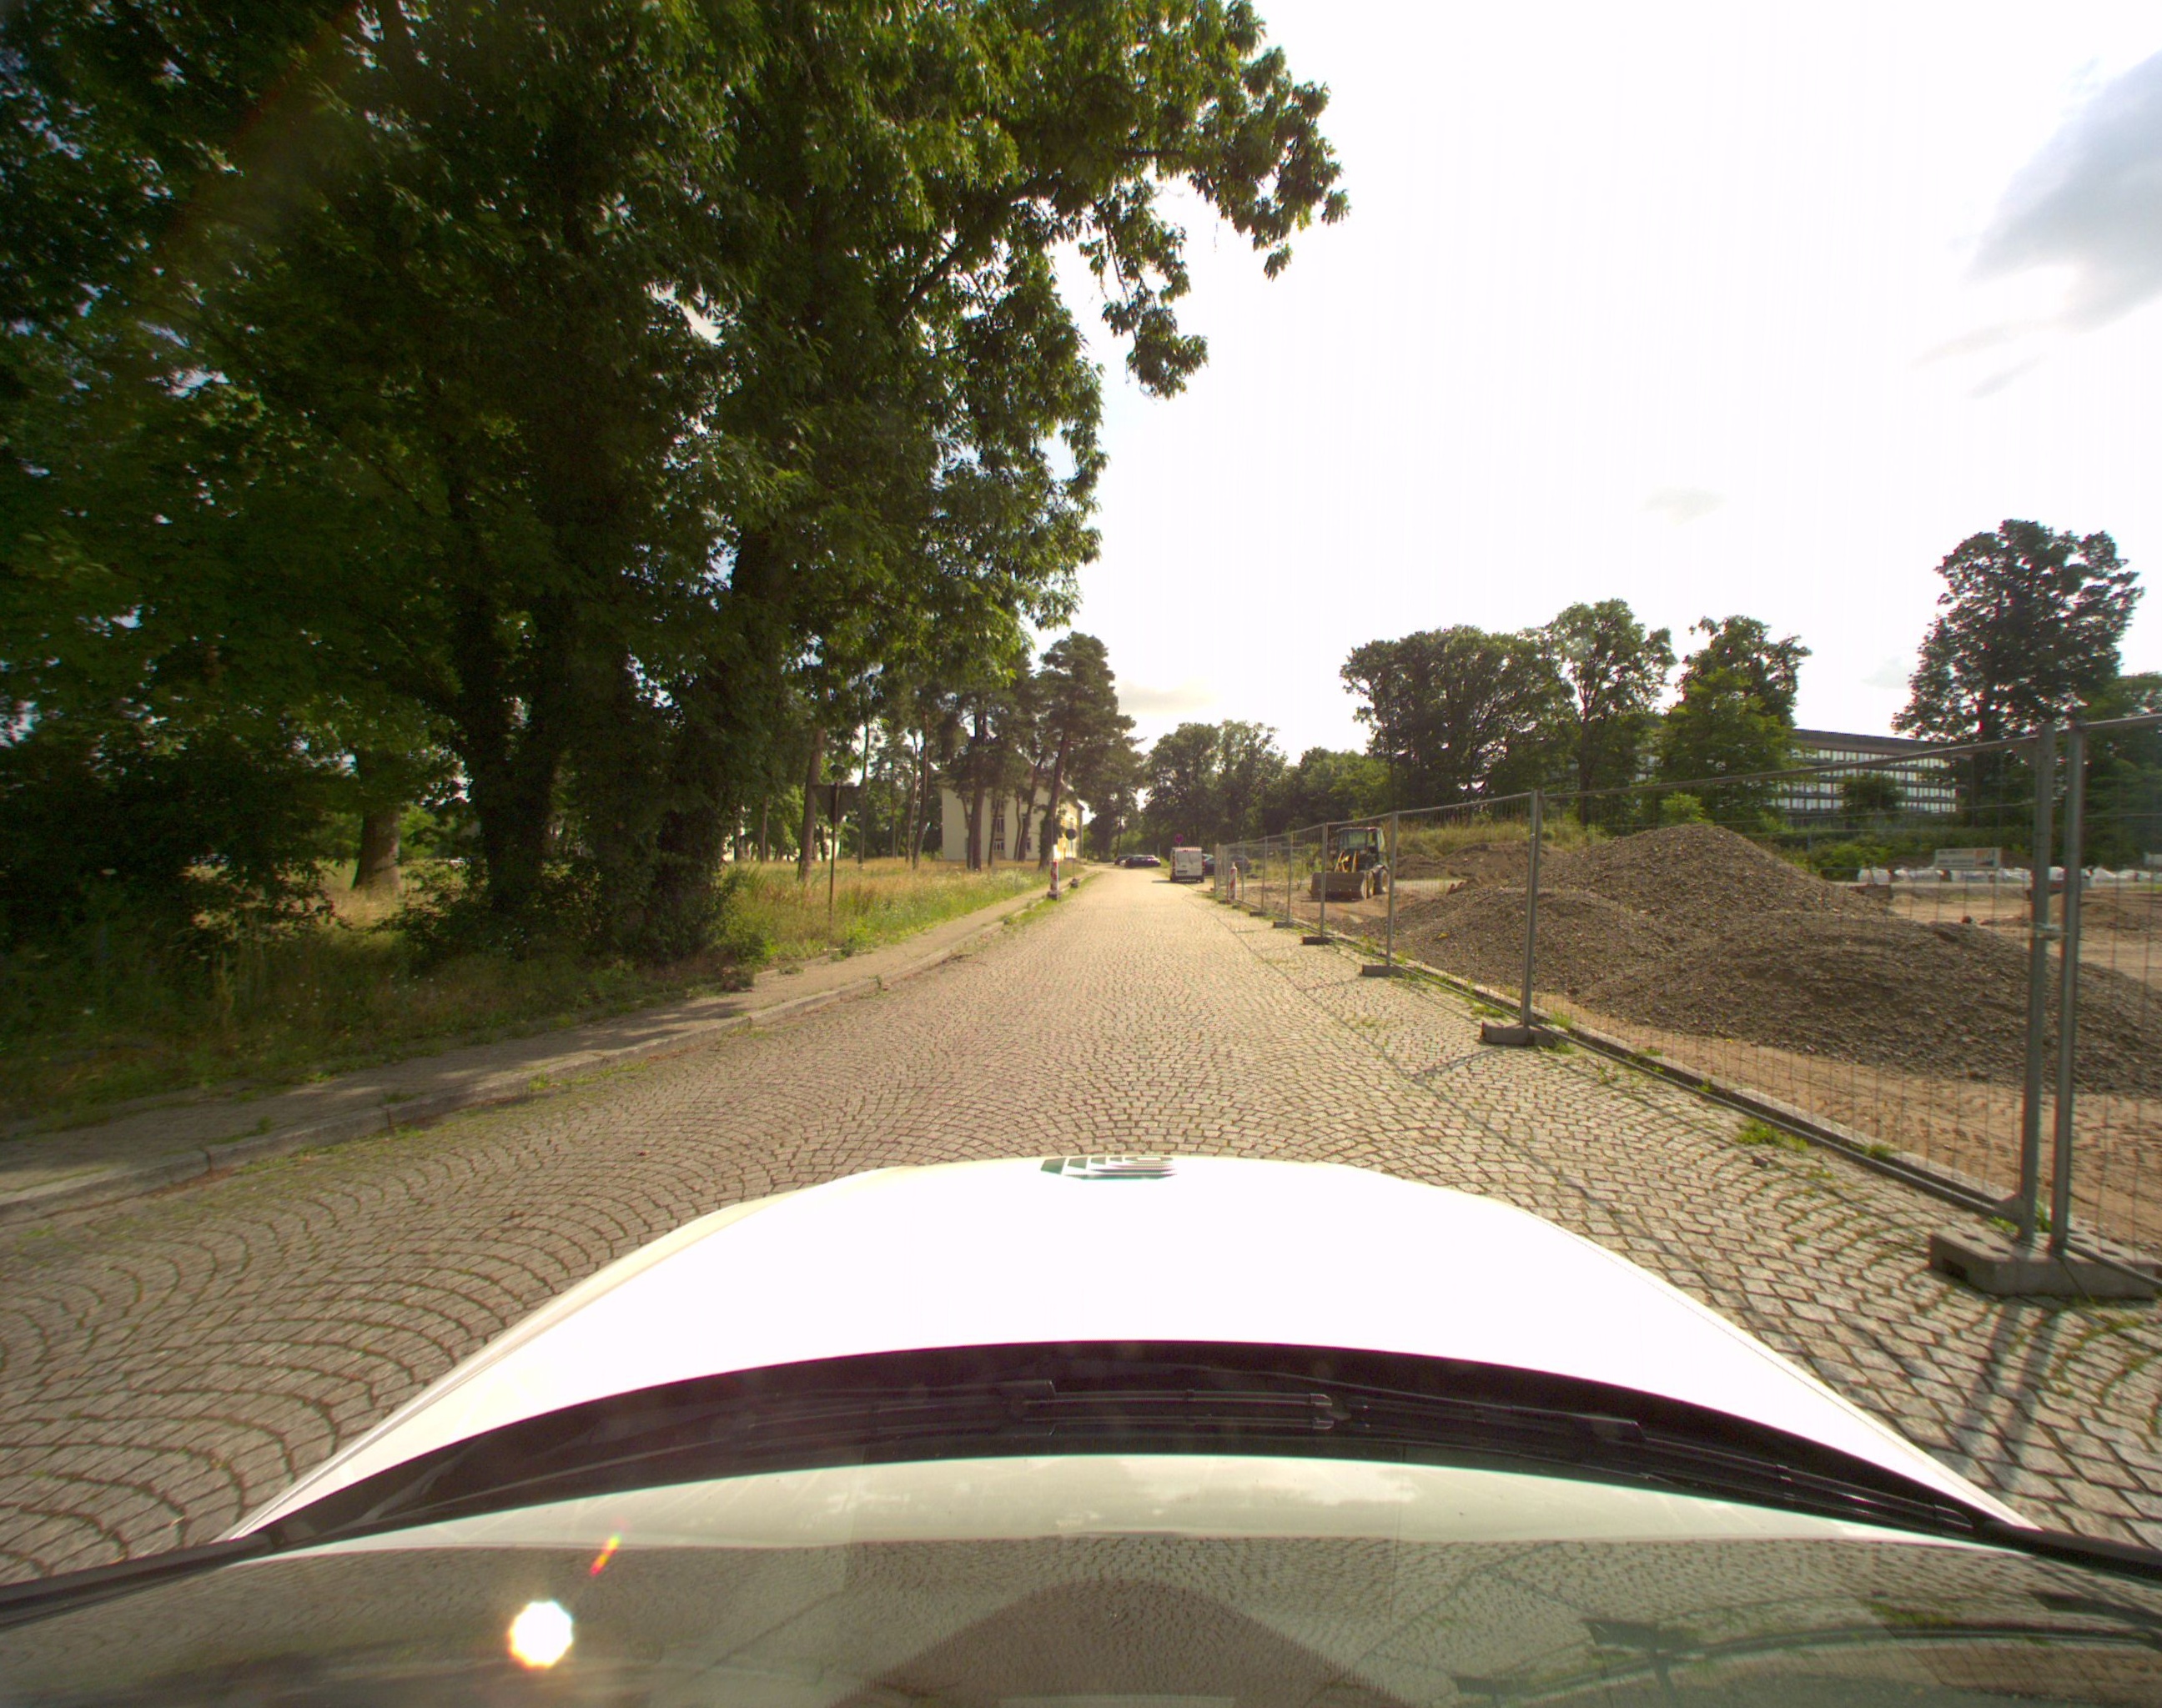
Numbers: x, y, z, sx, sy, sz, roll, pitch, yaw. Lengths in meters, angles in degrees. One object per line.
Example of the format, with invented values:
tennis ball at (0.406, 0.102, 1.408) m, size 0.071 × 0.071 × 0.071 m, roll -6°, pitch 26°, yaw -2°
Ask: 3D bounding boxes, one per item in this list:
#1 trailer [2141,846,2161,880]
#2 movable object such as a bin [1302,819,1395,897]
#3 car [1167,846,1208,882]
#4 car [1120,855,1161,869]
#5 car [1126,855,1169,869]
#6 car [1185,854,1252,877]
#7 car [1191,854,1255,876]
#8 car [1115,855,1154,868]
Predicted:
trailer at (44.062, 0.342, 31.033) m, size 3.949 × 1.354 × 2.101 m, roll 0°, pitch 0°, yaw 28°
movable object such as a bin at (9.786, 0.131, 29.551) m, size 2.108 × 2.593 × 4.821 m, roll -1°, pitch 0°, yaw 32°
car at (6.191, 0.550, 47.904) m, size 1.986 × 2.013 × 4.092 m, roll 0°, pitch 0°, yaw 2°
car at (7.222, 0.932, 98.813) m, size 4.768 × 1.641 × 1.998 m, roll 0°, pitch 0°, yaw -3°
car at (7.783, 0.936, 95.471) m, size 4.768 × 1.641 × 1.998 m, roll 0°, pitch 0°, yaw -3°
car at (9.249, 0.757, 54.636) m, size 4.375 × 1.510 × 2.006 m, roll 1°, pitch 0°, yaw 10°
car at (10.060, 0.761, 57.678) m, size 4.375 × 1.510 × 2.006 m, roll 1°, pitch 0°, yaw 10°
car at (6.911, 0.913, 105.310) m, size 4.768 × 1.641 × 1.998 m, roll 0°, pitch 0°, yaw -3°
